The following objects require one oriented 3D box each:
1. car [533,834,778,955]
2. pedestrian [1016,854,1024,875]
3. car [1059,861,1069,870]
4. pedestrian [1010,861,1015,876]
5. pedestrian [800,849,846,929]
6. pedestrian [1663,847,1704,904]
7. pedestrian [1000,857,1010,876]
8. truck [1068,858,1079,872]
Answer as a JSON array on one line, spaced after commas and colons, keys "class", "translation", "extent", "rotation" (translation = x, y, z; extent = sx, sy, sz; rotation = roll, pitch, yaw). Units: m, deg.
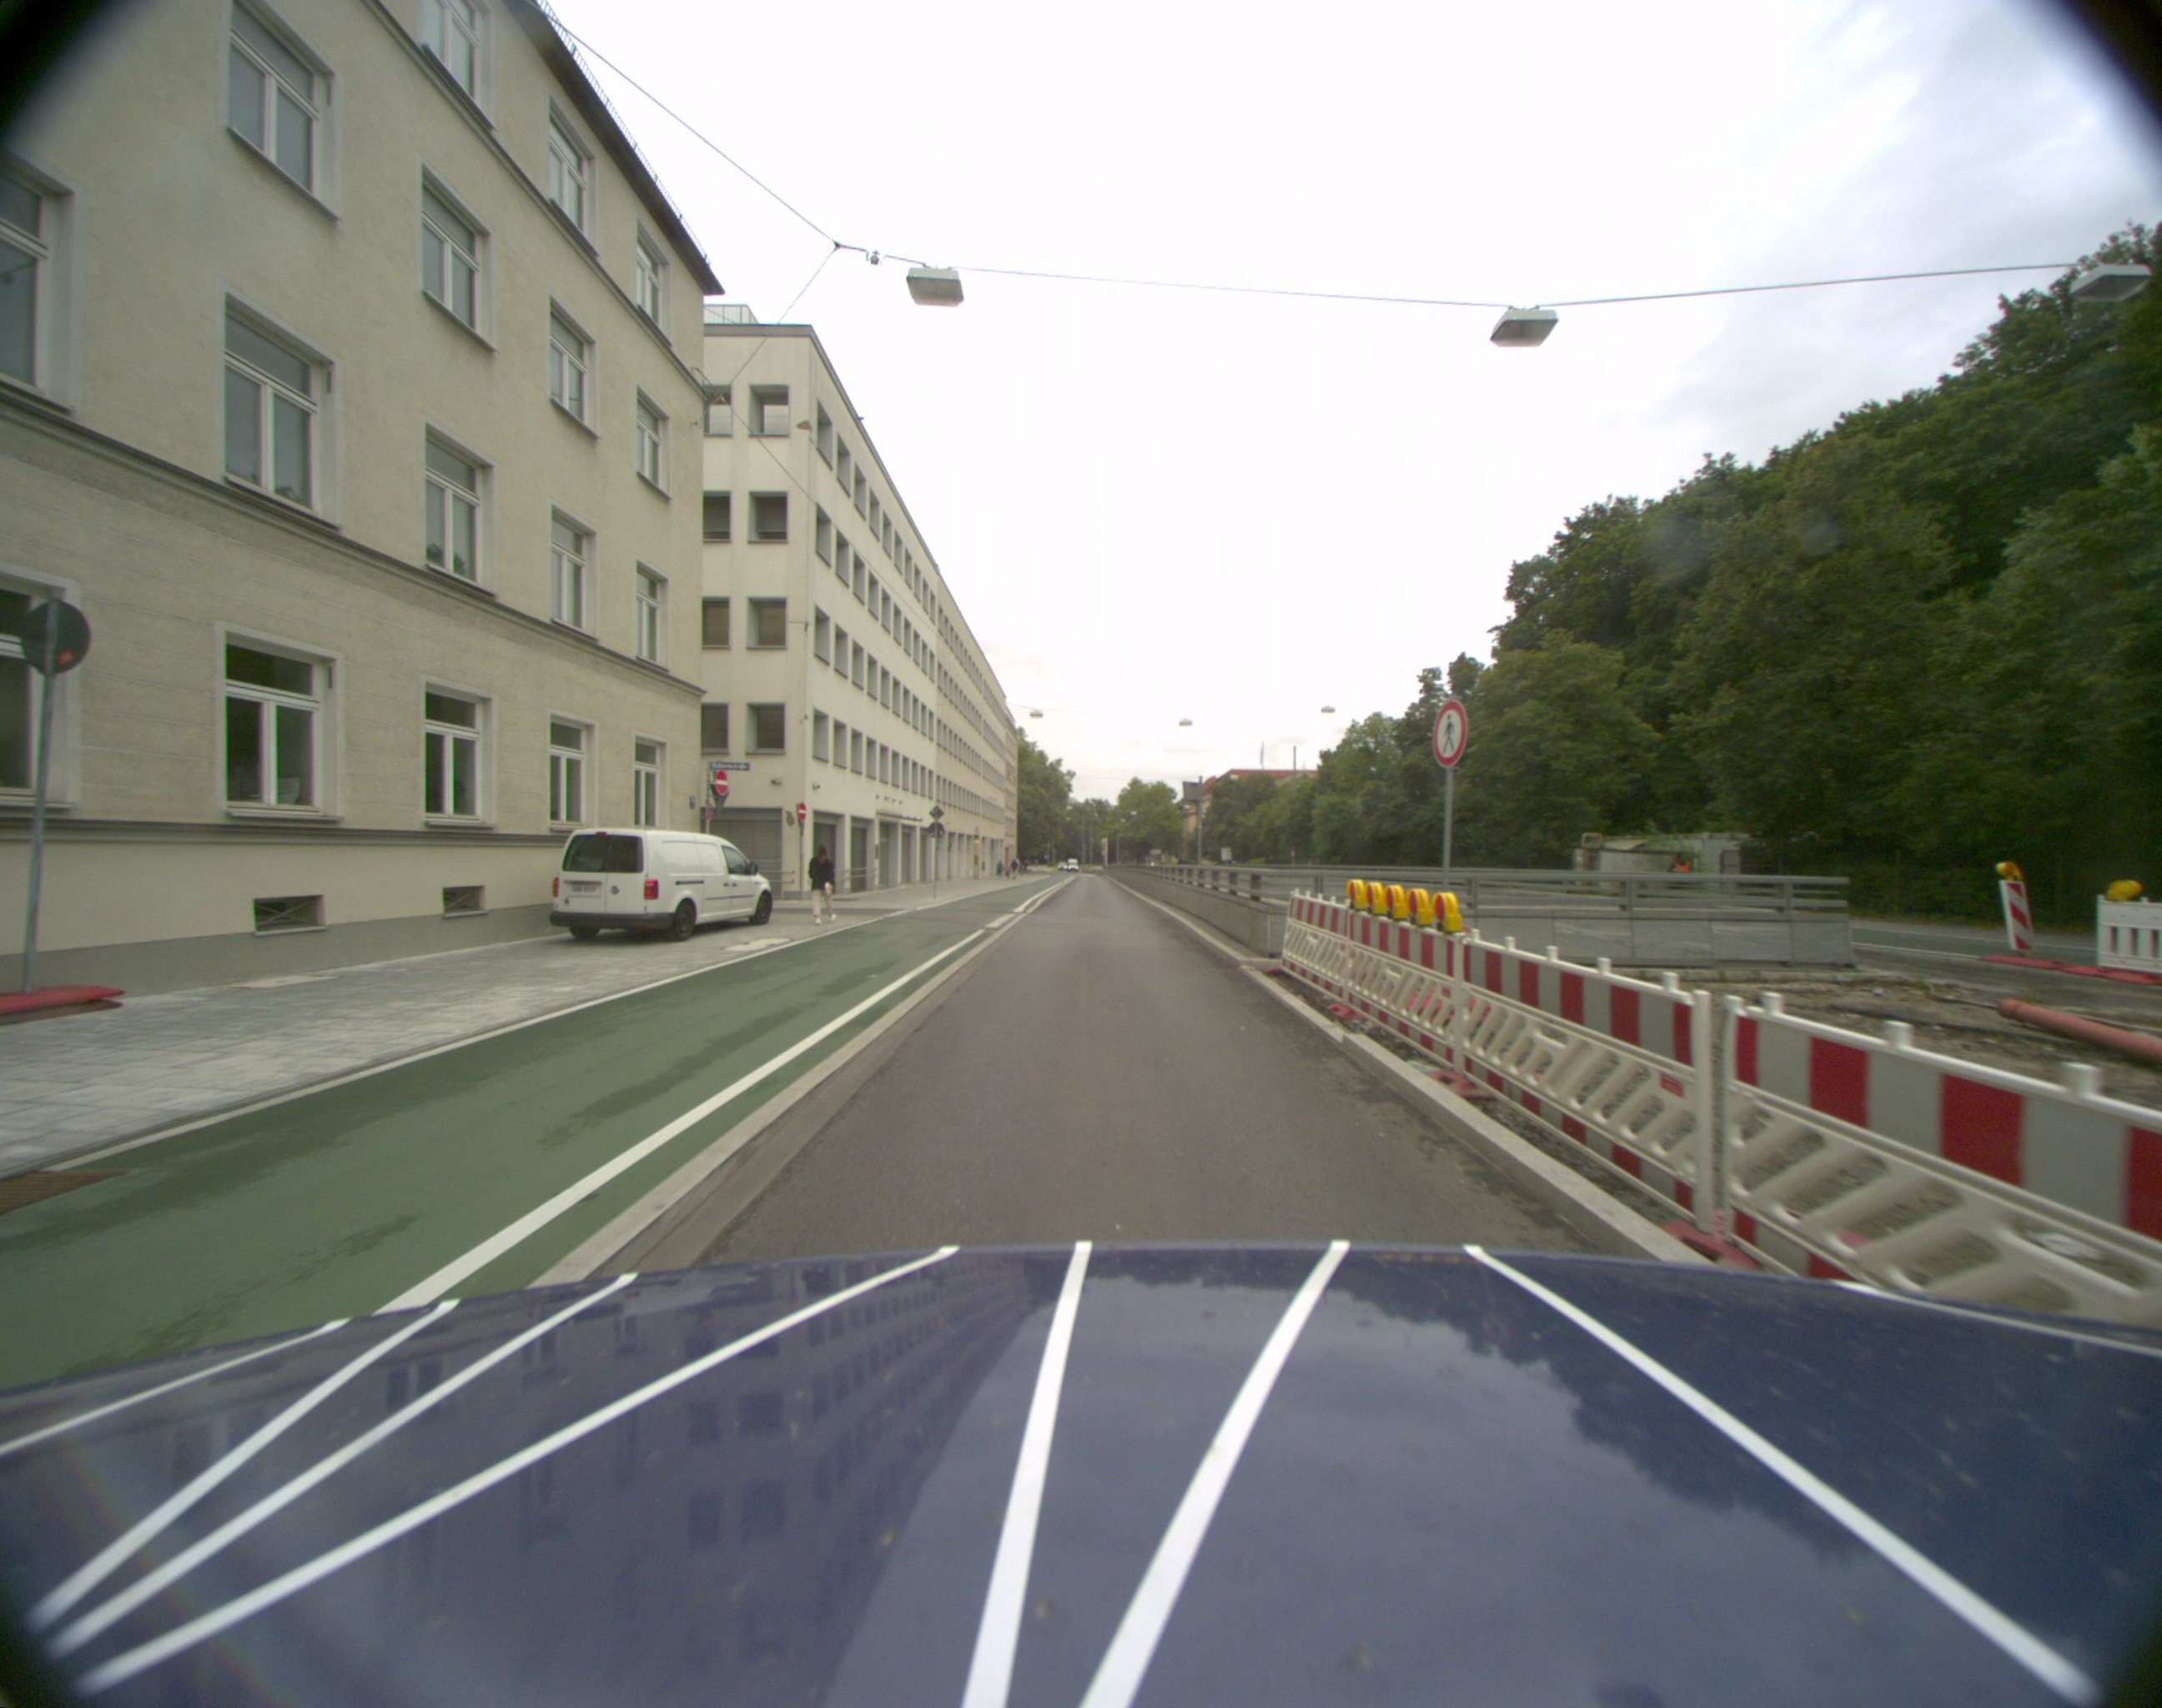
[{"class": "car", "translation": [-7.129, 0.593, 13.369], "extent": [1.737, 1.739, 4.435], "rotation": [1, 0, 1]}, {"class": "pedestrian", "translation": [-5.377, 0.913, 66.784], "extent": [0.514, 1.825, 0.602], "rotation": [4, 1, 1]}, {"class": "car", "translation": [-3.653, 2.484, 165.040], "extent": [1.999, 1.738, 4.000], "rotation": [0, 0, -1]}, {"class": "pedestrian", "translation": [-6.015, 1.262, 66.745], "extent": [0.368, 1.239, 0.470], "rotation": [4, 1, 1]}, {"class": "pedestrian", "translation": [-5.354, 0.711, 15.784], "extent": [0.666, 1.626, 0.737], "rotation": [2, 0, 1]}, {"class": "pedestrian", "translation": [17.692, 0.622, 22.313], "extent": [0.664, 1.631, 0.698], "rotation": [0, 0, 2]}, {"class": "pedestrian", "translation": [-6.886, 1.117, 68.667], "extent": [0.754, 1.610, 0.704], "rotation": [4, 1, 1]}, {"class": "truck", "translation": [-1.537, 2.167, 151.211], "extent": [2.058, 2.625, 4.412], "rotation": [0, 0, -1]}]
